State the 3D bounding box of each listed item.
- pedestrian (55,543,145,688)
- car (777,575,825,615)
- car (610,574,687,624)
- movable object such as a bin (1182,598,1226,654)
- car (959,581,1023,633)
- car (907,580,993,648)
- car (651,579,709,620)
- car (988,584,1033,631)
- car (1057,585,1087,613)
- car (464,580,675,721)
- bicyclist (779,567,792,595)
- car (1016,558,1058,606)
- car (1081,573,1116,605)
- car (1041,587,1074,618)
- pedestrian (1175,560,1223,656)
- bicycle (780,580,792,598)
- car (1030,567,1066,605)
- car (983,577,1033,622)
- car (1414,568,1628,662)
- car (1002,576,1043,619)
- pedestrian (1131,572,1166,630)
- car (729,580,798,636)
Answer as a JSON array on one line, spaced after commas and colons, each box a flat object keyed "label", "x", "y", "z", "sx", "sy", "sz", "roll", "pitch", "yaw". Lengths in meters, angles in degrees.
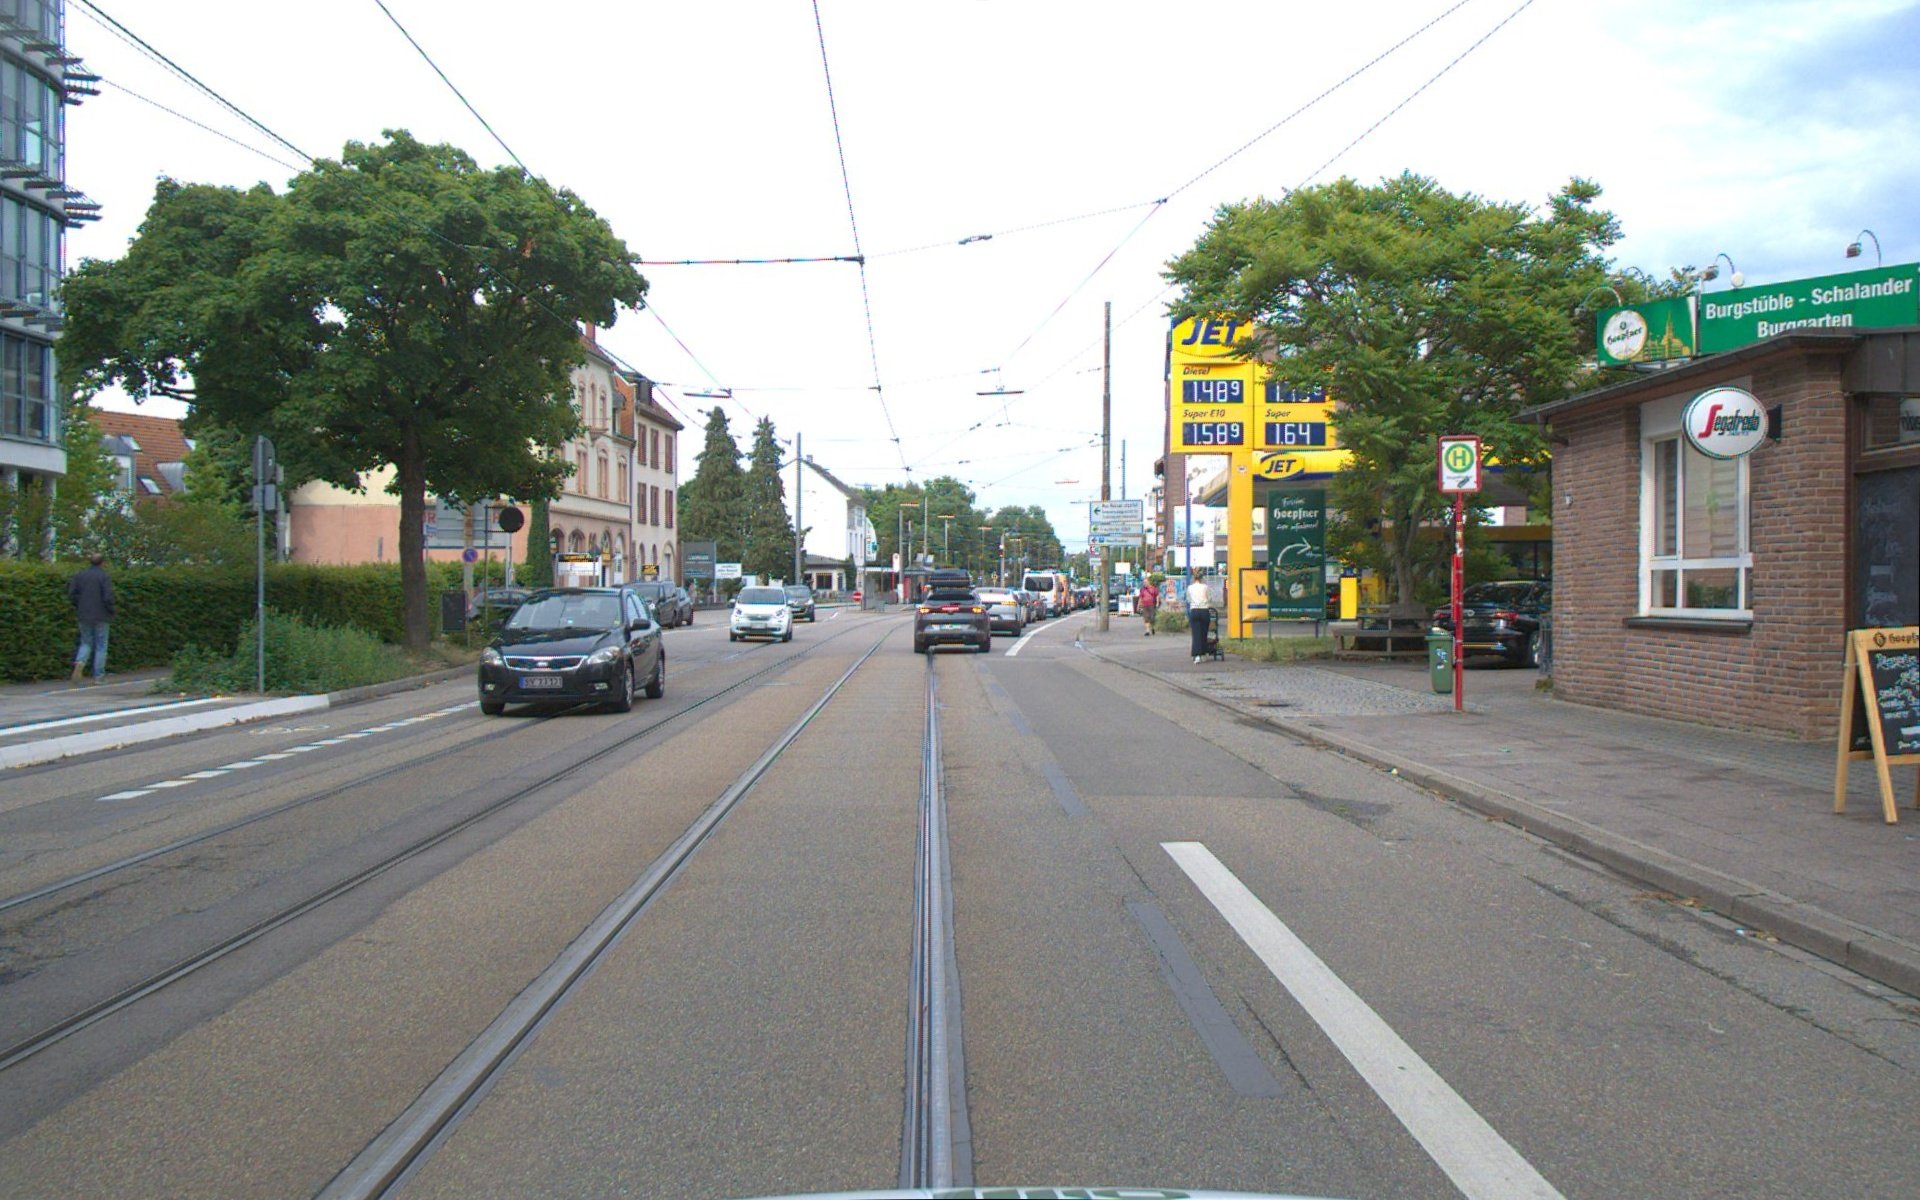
[{"label": "pedestrian", "x": -12.485, "y": 0.218, "z": 24.040, "sx": 0.695, "sy": 2.049, "sz": 0.991, "roll": 1, "pitch": 0, "yaw": 6}, {"label": "car", "x": -7.302, "y": -0.216, "z": 76.395, "sx": 1.790, "sy": 1.768, "sz": 4.335, "roll": -1, "pitch": 0, "yaw": 0}, {"label": "car", "x": -12.482, "y": -0.040, "z": 66.578, "sx": 1.950, "sy": 1.920, "sz": 4.999, "roll": 1, "pitch": 0, "yaw": 2}, {"label": "movable object such as a bin", "x": 4.930, "y": 0.518, "z": 33.370, "sx": 0.751, "sy": 1.057, "sz": 1.025, "roll": -2, "pitch": 0, "yaw": 13}, {"label": "car", "x": 0.986, "y": 0.201, "z": 54.325, "sx": 1.941, "sy": 1.577, "sz": 4.183, "roll": 1, "pitch": 1, "yaw": -1}, {"label": "car", "x": -0.253, "y": 0.317, "z": 40.033, "sx": 1.949, "sy": 1.523, "sz": 4.325, "roll": 1, "pitch": 0, "yaw": -1}, {"label": "car", "x": -12.493, "y": -0.036, "z": 74.042, "sx": 1.806, "sy": 1.748, "sz": 4.193, "roll": 1, "pitch": 0, "yaw": 1}, {"label": "car", "x": 2.297, "y": 0.321, "z": 75.852, "sx": 1.952, "sy": 2.049, "sz": 4.001, "roll": 1, "pitch": 0, "yaw": 1}, {"label": "car", "x": 8.622, "y": -0.069, "z": 128.076, "sx": 1.953, "sy": 2.049, "sz": 3.999, "roll": 1, "pitch": 0, "yaw": -1}, {"label": "car", "x": -4.772, "y": 0.541, "z": 20.765, "sx": 1.712, "sy": 1.512, "sz": 4.062, "roll": -1, "pitch": 1, "yaw": -1}, {"label": "bicyclist", "x": -11.199, "y": -1.230, "z": 106.086, "sx": 0.722, "sy": 1.779, "sz": 0.976, "roll": -1, "pitch": 0, "yaw": -11}, {"label": "car", "x": 4.154, "y": -0.946, "z": 89.897, "sx": 2.170, "sy": 2.465, "sz": 4.952, "roll": 1, "pitch": 0, "yaw": 1}, {"label": "car", "x": 8.217, "y": -0.632, "z": 98.117, "sx": 1.835, "sy": 1.855, "sz": 4.097, "roll": 1, "pitch": 0, "yaw": 2}, {"label": "car", "x": 6.789, "y": 0.170, "z": 115.865, "sx": 1.953, "sy": 2.049, "sz": 3.999, "roll": 1, "pitch": 0, "yaw": -1}, {"label": "pedestrian", "x": 4.696, "y": 0.151, "z": 32.432, "sx": 0.751, "sy": 1.828, "sz": 1.163, "roll": -2, "pitch": 0, "yaw": 13}, {"label": "bicycle", "x": -11.186, "y": -0.692, "z": 106.086, "sx": 0.576, "sy": 1.092, "sz": 1.952, "roll": -1, "pitch": 0, "yaw": -11}, {"label": "car", "x": 5.257, "y": -0.815, "z": 99.321, "sx": 2.095, "sy": 2.183, "sz": 4.745, "roll": 1, "pitch": 0, "yaw": 2}, {"label": "car", "x": 1.927, "y": -0.020, "z": 67.631, "sx": 1.928, "sy": 1.787, "sz": 3.838, "roll": 1, "pitch": 0, "yaw": 1}, {"label": "car", "x": 9.895, "y": 0.210, "z": 28.977, "sx": 1.901, "sy": 1.432, "sz": 4.556, "roll": 0, "pitch": 2, "yaw": 42}, {"label": "car", "x": 3.139, "y": -0.105, "z": 82.127, "sx": 1.952, "sy": 2.049, "sz": 4.001, "roll": 1, "pitch": 0, "yaw": 3}, {"label": "pedestrian", "x": 5.931, "y": 0.031, "z": 52.067, "sx": 0.951, "sy": 1.769, "sz": 0.861, "roll": -2, "pitch": 0, "yaw": 2}, {"label": "car", "x": -5.605, "y": 0.216, "z": 47.543, "sx": 1.669, "sy": 1.556, "sz": 3.740, "roll": 0, "pitch": 0, "yaw": -2}]
